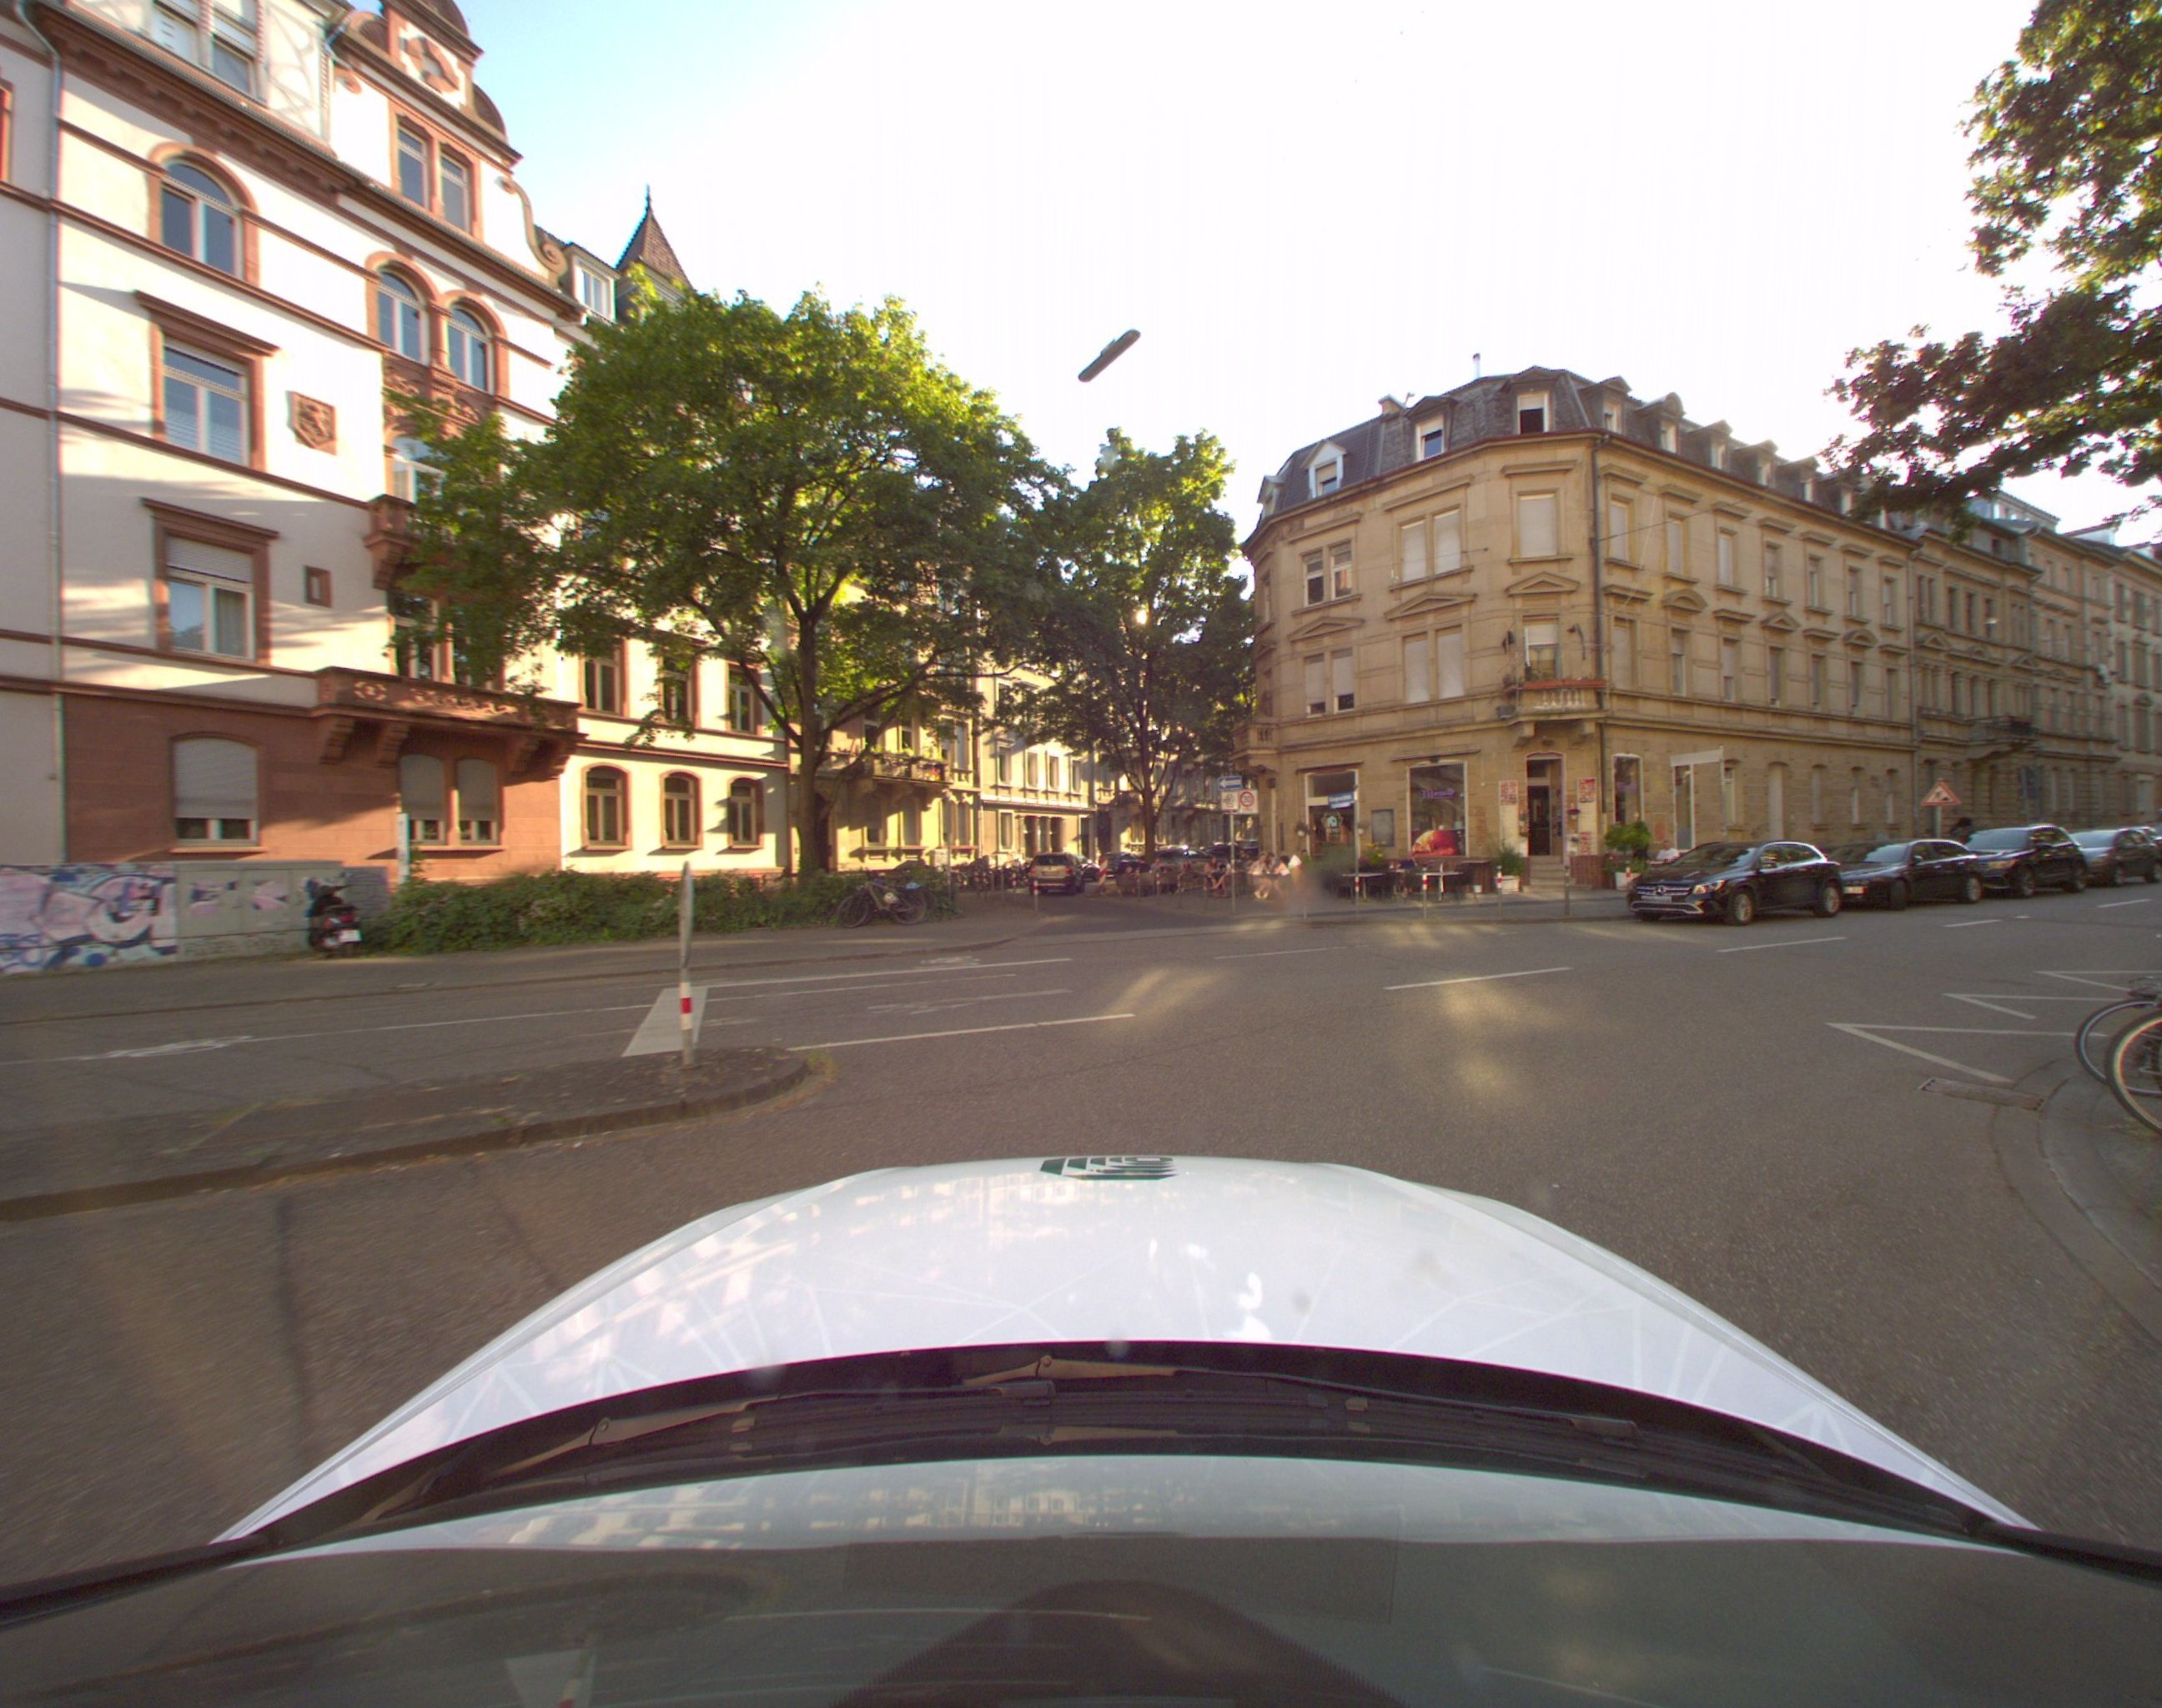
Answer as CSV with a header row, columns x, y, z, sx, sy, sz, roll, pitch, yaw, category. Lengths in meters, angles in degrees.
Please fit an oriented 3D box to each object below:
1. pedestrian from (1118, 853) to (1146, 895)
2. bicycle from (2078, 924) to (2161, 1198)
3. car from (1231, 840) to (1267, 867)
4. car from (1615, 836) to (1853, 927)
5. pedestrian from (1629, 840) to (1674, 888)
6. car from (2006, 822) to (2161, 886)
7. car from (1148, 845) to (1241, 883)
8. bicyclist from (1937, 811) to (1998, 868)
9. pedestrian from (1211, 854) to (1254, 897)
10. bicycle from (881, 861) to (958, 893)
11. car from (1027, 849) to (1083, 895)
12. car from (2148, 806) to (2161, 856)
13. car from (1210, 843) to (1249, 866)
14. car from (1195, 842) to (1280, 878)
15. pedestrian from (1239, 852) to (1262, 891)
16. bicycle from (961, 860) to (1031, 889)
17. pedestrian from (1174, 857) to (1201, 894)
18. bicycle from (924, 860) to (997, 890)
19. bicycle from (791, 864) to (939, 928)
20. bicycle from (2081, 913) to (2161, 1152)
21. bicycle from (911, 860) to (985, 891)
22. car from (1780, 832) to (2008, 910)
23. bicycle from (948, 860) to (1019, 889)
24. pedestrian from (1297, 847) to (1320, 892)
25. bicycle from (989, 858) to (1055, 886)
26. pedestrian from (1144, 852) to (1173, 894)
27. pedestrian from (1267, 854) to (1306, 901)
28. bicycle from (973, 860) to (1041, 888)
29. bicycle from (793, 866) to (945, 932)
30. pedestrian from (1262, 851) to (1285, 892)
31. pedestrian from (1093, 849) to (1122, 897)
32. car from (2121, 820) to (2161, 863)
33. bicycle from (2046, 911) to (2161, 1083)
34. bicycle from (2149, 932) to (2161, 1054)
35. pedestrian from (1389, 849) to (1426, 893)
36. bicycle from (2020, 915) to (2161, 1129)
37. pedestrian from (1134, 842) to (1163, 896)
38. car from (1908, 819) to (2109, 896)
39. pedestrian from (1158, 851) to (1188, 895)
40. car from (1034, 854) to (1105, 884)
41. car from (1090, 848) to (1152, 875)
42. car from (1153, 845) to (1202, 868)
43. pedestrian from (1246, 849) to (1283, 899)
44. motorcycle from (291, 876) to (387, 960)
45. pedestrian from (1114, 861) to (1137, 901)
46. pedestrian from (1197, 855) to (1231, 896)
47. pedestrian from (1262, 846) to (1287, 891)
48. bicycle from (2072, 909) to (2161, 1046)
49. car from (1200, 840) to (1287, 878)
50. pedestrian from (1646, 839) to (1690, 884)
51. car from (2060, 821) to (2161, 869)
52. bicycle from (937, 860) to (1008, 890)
x,y,z,sx,sy,sz,roll,pitch,yaw,category
1.784,0.686,28.536,0.765,1.412,0.665,-2,-1,-12,pedestrian
5.316,0.808,3.072,1.912,1.094,0.427,-4,-3,24,bicycle
13.972,-0.071,67.451,1.789,2.085,3.775,-2,0,30,car
12.450,0.473,15.532,4.142,1.488,1.751,-2,-1,-23,car
15.316,0.266,21.869,0.759,1.259,0.721,-1,0,-29,pedestrian
26.755,-0.020,21.593,4.065,1.501,1.750,-2,-1,-24,car
5.001,0.425,36.217,3.814,1.562,1.802,-1,0,-2,car
28.423,-0.471,26.126,1.210,1.790,0.990,-1,0,-26,bicyclist
4.599,0.643,24.765,0.751,1.248,1.015,-2,0,-29,pedestrian
-6.203,0.891,31.208,3.097,1.180,0.756,-2,0,29,bicycle
-1.108,0.669,32.635,1.990,1.684,3.993,-2,0,-5,car
44.869,-0.986,32.511,5.271,1.943,1.822,-2,2,-27,car
11.480,0.023,62.748,1.789,1.684,3.775,-2,0,30,car
7.955,0.293,41.678,3.970,1.684,2.002,-2,0,3,car
5.512,0.574,26.514,0.512,1.248,0.477,-2,0,-29,pedestrian
-3.726,0.896,35.557,3.097,1.180,0.756,-2,0,29,bicycle
3.692,0.738,28.253,0.677,1.215,0.664,-2,-1,-16,pedestrian
-4.972,0.871,33.385,3.097,1.180,0.756,-2,0,29,bicycle
-4.533,0.863,17.213,2.961,1.196,0.544,-2,0,-23,bicycle
6.003,0.802,3.609,1.912,1.094,0.427,-4,-3,27,bicycle
-5.371,0.866,32.698,3.097,1.180,0.756,-2,0,29,bicycle
17.411,0.329,17.440,4.552,1.452,1.751,-2,-1,-21,car
-4.186,0.888,34.841,3.097,1.180,0.756,-2,0,29,bicycle
6.987,0.477,25.013,0.435,1.367,0.477,-2,0,-35,pedestrian
-2.717,0.829,37.286,3.097,1.180,0.756,-2,0,29,bicycle
2.717,0.662,28.549,0.766,1.442,0.665,-2,-1,-14,pedestrian
5.839,0.650,23.096,0.746,1.289,0.737,-1,0,-36,pedestrian
-3.318,0.906,36.304,3.097,1.180,0.756,-2,0,29,bicycle
-4.310,0.889,16.666,2.961,1.196,0.544,-2,0,-23,bicycle
6.083,0.555,25.754,0.435,1.248,0.477,-2,0,-29,pedestrian
0.952,0.674,29.199,0.769,1.670,0.662,-2,-1,-28,pedestrian
39.989,-0.497,29.804,3.705,1.475,1.585,-2,2,-25,car
6.979,0.817,4.563,1.911,0.988,0.500,-5,-4,42,bicycle
5.121,0.804,2.677,1.912,1.094,0.427,-4,-3,24,bicycle
9.365,0.475,23.334,0.718,1.214,0.761,-2,0,44,pedestrian
6.213,0.831,4.053,1.912,1.052,0.506,-4,-3,27,bicycle
2.256,0.494,27.252,0.766,1.770,0.569,-2,-1,-14,pedestrian
22.171,0.056,19.460,4.554,1.600,1.751,-2,-1,-23,car
3.100,0.644,27.528,0.766,1.442,0.665,-2,-1,-14,pedestrian
-0.531,0.746,41.060,1.905,1.376,3.775,-1,0,30,car
2.287,0.416,45.529,1.905,1.376,3.775,-1,0,30,car
6.402,0.156,53.751,1.905,1.376,3.775,-1,0,30,car
5.348,0.569,23.744,0.731,1.411,0.748,-1,0,-38,pedestrian
-12.349,1.014,13.535,2.083,1.265,0.848,-1,0,39,motorcycle
1.504,0.916,27.577,0.571,1.320,0.502,-2,0,-16,pedestrian
4.160,0.661,25.552,0.751,1.248,0.700,-2,0,-29,pedestrian
6.307,0.466,26.607,0.484,1.431,0.563,-2,0,-37,pedestrian
8.171,0.868,5.898,1.402,0.928,0.355,-2,-3,3,bicycle
7.797,0.232,38.965,3.959,1.684,2.007,-2,0,12,car
16.261,0.206,22.566,0.759,1.214,0.721,-1,0,-29,pedestrian
35.794,-0.337,27.970,4.066,1.501,1.750,-2,-1,-25,car
-4.572,0.880,34.121,3.097,1.180,0.756,-2,0,29,bicycle
